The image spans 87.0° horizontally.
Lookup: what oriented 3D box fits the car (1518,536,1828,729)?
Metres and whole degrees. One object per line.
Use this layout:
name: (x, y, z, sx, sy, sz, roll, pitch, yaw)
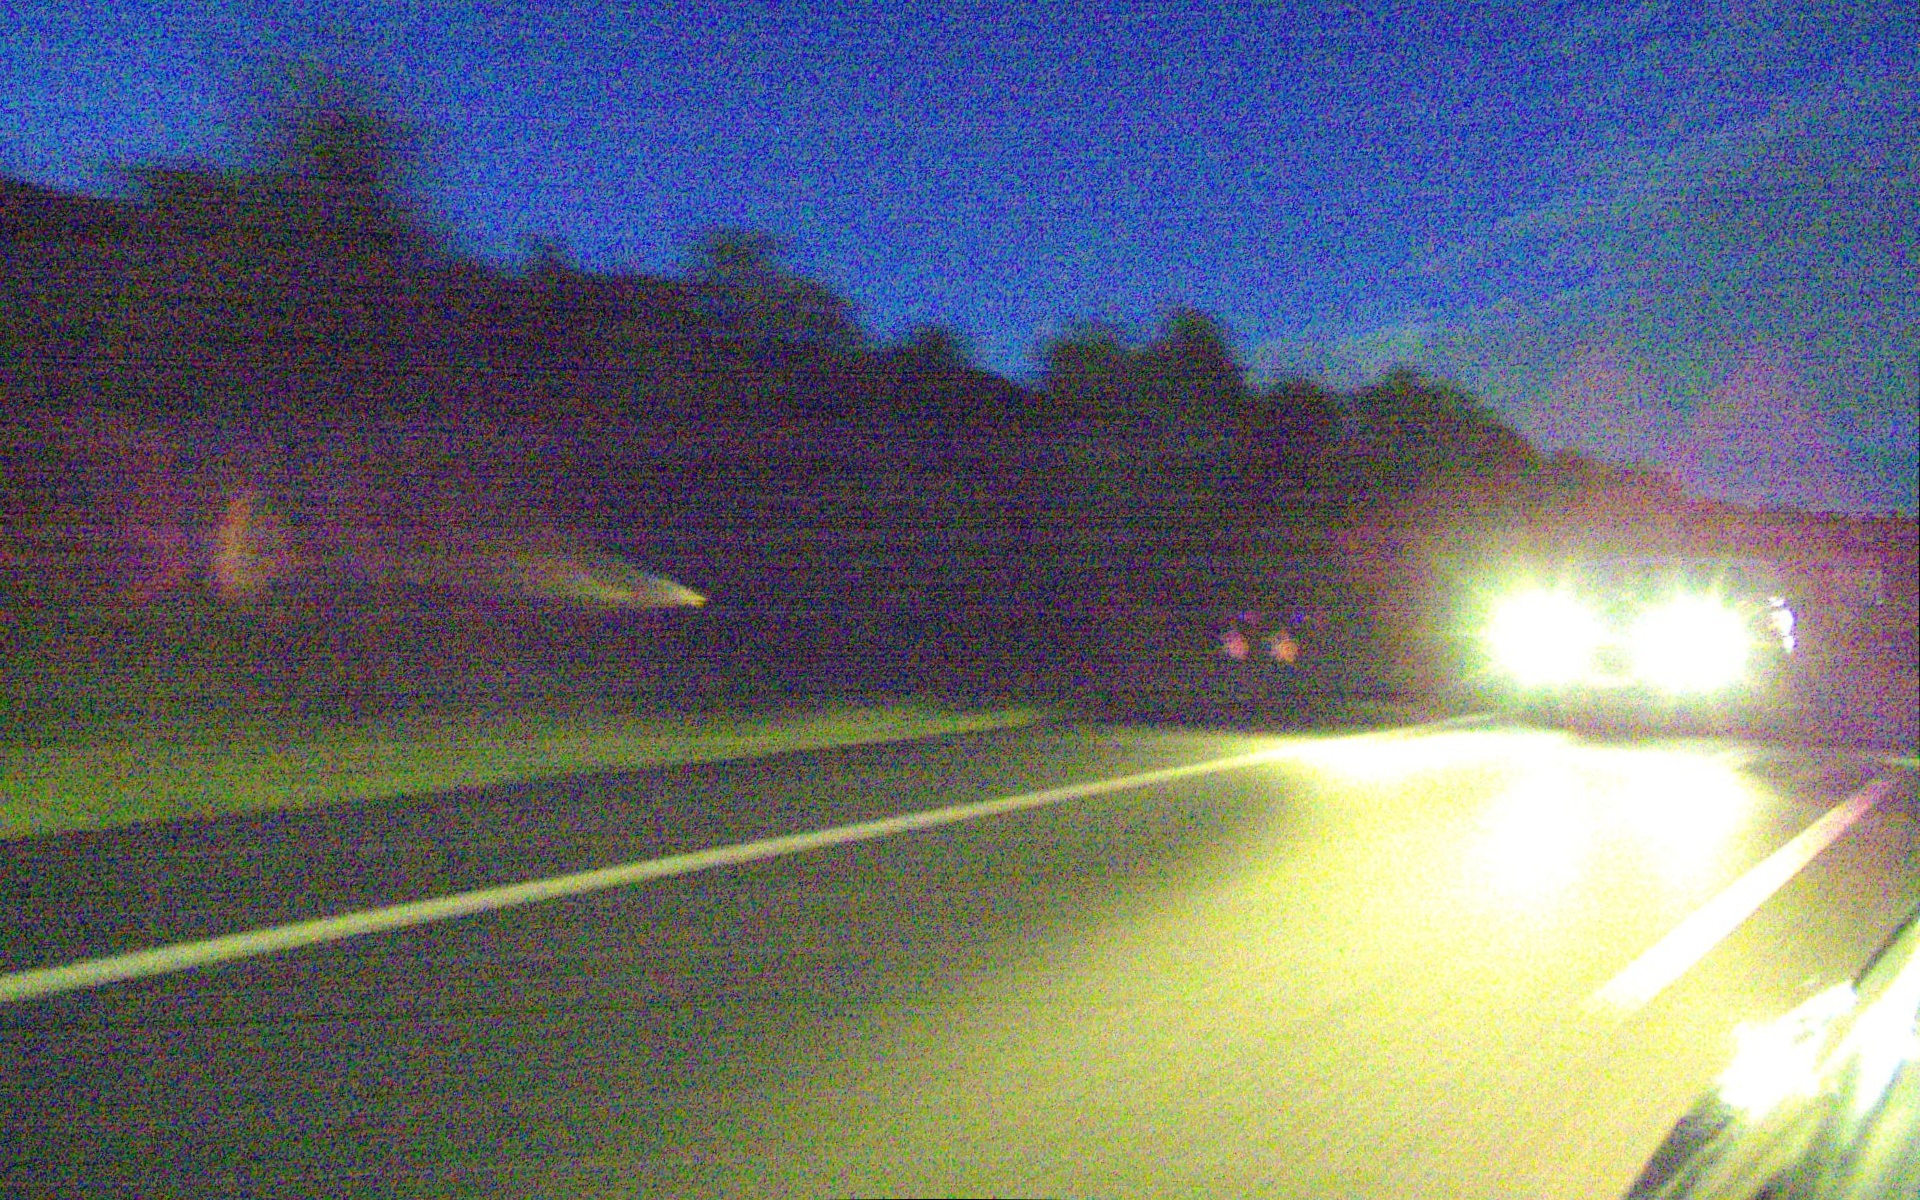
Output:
car: (9.515, 0.304, 13.277, 5.566, 2.026, 2.119, -1, 1, -42)
